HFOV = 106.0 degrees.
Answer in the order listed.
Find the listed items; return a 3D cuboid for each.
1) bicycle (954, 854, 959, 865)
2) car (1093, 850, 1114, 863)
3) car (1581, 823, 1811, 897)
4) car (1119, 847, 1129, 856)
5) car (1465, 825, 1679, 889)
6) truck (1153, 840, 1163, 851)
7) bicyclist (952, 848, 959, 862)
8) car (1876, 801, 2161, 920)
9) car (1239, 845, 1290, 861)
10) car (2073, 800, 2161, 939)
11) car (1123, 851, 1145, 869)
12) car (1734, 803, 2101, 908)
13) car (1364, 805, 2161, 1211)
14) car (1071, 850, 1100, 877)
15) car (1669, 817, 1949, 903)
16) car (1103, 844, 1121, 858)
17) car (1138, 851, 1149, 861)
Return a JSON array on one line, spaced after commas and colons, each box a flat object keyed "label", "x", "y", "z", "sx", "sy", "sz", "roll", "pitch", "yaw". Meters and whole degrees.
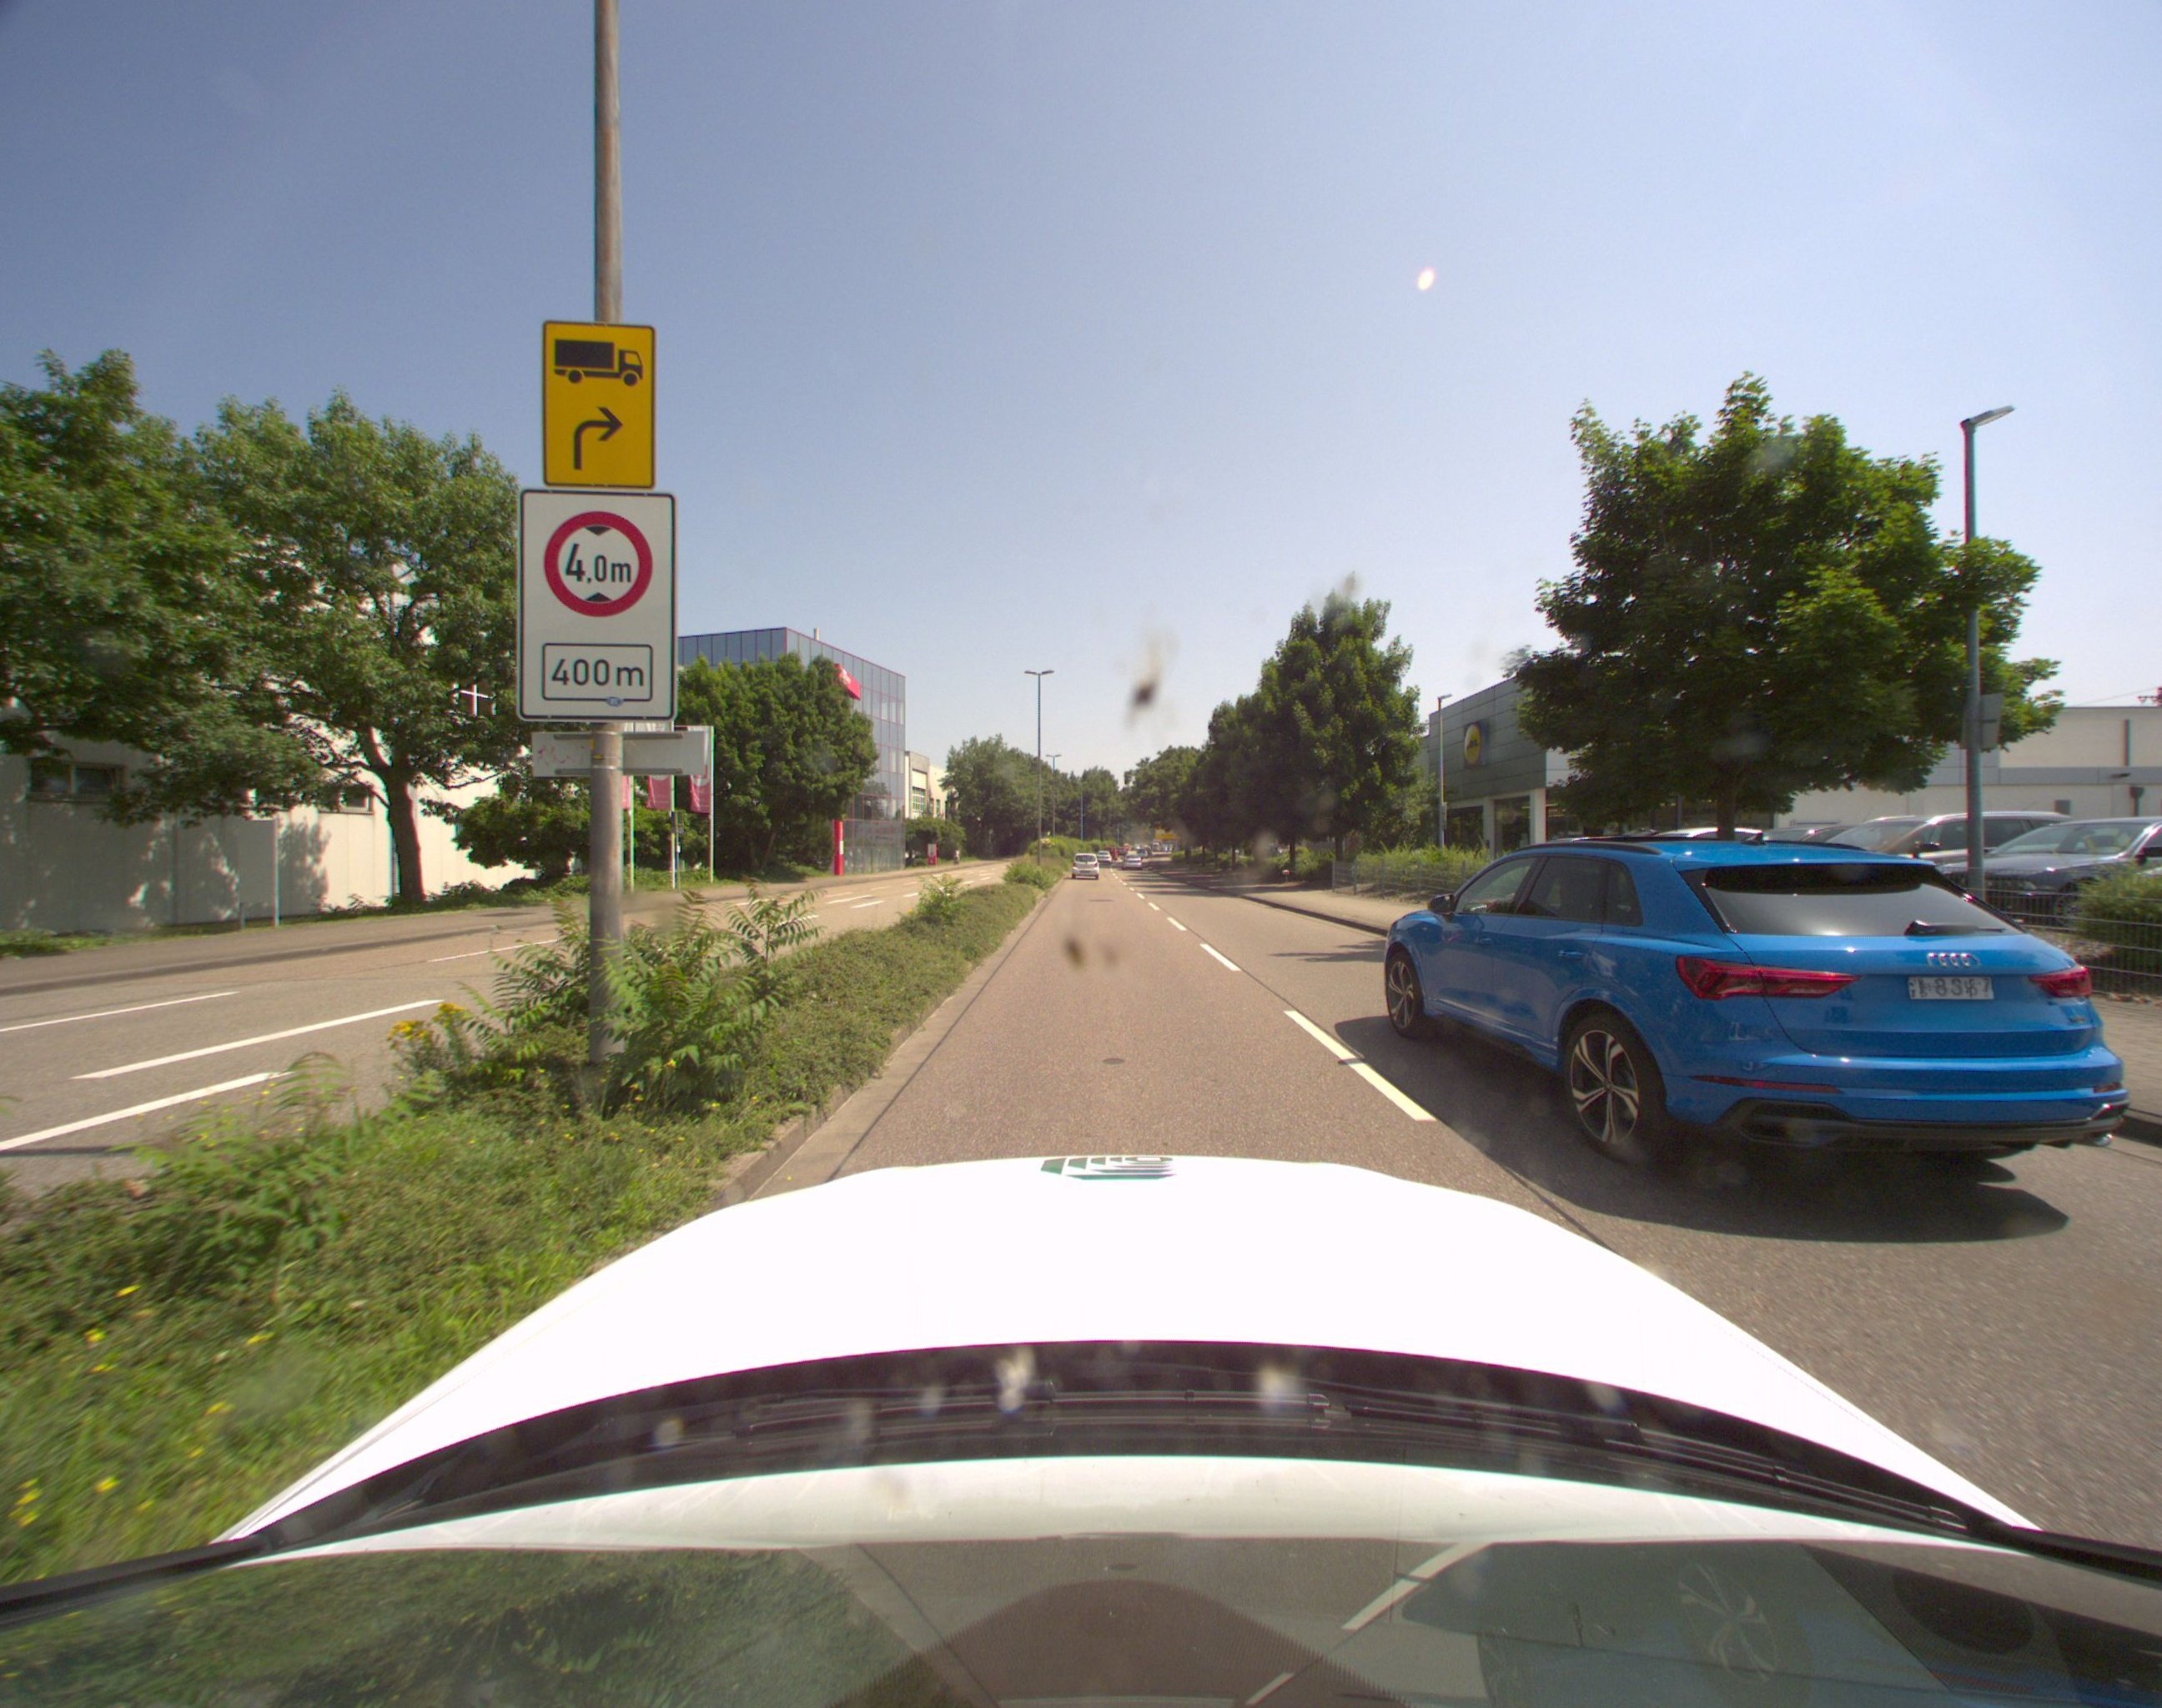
[{"label": "bicycle", "x": -12.938, "y": 0.581, "z": 84.582, "sx": 0.345, "sy": 1.067, "sz": 0.923, "roll": -2, "pitch": 0, "yaw": 1}, {"label": "car", "x": 2.452, "y": 0.294, "z": 87.767, "sx": 1.875, "sy": 1.354, "sz": 4.007, "roll": 1, "pitch": 0, "yaw": 6}, {"label": "car", "x": 13.975, "y": 0.120, "z": 18.661, "sx": 3.976, "sy": 1.596, "sz": 1.826, "roll": 0, "pitch": 0, "yaw": -2}, {"label": "car", "x": 6.619, "y": -0.392, "z": 125.558, "sx": 1.482, "sy": 1.392, "sz": 3.308, "roll": 1, "pitch": 0, "yaw": 1}, {"label": "car", "x": 14.124, "y": 0.078, "z": 23.639, "sx": 4.976, "sy": 1.596, "sz": 2.022, "roll": -2, "pitch": 0, "yaw": -1}, {"label": "truck", "x": 24.145, "y": -2.704, "z": 254.060, "sx": 2.917, "sy": 3.502, "sz": 9.175, "roll": 0, "pitch": 1, "yaw": 6}, {"label": "bicyclist", "x": -13.013, "y": 0.112, "z": 84.387, "sx": 0.543, "sy": 1.509, "sz": 0.343, "roll": -2, "pitch": 0, "yaw": 0}, {"label": "car", "x": 13.160, "y": 0.056, "z": 10.515, "sx": 3.971, "sy": 1.389, "sz": 1.828, "roll": -1, "pitch": 0, "yaw": 2}, {"label": "car", "x": 17.375, "y": -0.110, "z": 77.233, "sx": 1.960, "sy": 1.352, "sz": 4.667, "roll": -2, "pitch": 0, "yaw": -32}, {"label": "car", "x": 12.821, "y": 0.136, "z": 7.958, "sx": 3.971, "sy": 1.389, "sz": 1.828, "roll": -1, "pitch": 0, "yaw": 2}, {"label": "car", "x": 4.651, "y": 0.497, "z": 71.233, "sx": 1.857, "sy": 1.473, "sz": 4.004, "roll": 1, "pitch": 0, "yaw": 4}, {"label": "car", "x": 13.273, "y": 0.034, "z": 13.140, "sx": 3.971, "sy": 1.534, "sz": 1.828, "roll": -1, "pitch": -1, "yaw": 2}, {"label": "car", "x": 3.513, "y": 0.600, "z": 5.410, "sx": 1.802, "sy": 1.592, "sz": 4.350, "roll": -1, "pitch": 0, "yaw": 1}, {"label": "car", "x": 0.306, "y": 0.570, "z": 49.052, "sx": 1.632, "sy": 1.552, "sz": 3.327, "roll": 0, "pitch": 0, "yaw": 2}, {"label": "car", "x": 14.113, "y": 0.121, "z": 15.941, "sx": 3.978, "sy": 1.534, "sz": 1.824, "roll": -1, "pitch": -1, "yaw": -4}, {"label": "car", "x": 4.027, "y": -0.397, "z": 105.178, "sx": 1.875, "sy": 1.608, "sz": 4.007, "roll": -2, "pitch": 0, "yaw": 6}, {"label": "car", "x": 9.187, "y": 0.272, "z": 120.284, "sx": 1.436, "sy": 1.348, "sz": 3.461, "roll": -2, "pitch": 0, "yaw": 1}]
